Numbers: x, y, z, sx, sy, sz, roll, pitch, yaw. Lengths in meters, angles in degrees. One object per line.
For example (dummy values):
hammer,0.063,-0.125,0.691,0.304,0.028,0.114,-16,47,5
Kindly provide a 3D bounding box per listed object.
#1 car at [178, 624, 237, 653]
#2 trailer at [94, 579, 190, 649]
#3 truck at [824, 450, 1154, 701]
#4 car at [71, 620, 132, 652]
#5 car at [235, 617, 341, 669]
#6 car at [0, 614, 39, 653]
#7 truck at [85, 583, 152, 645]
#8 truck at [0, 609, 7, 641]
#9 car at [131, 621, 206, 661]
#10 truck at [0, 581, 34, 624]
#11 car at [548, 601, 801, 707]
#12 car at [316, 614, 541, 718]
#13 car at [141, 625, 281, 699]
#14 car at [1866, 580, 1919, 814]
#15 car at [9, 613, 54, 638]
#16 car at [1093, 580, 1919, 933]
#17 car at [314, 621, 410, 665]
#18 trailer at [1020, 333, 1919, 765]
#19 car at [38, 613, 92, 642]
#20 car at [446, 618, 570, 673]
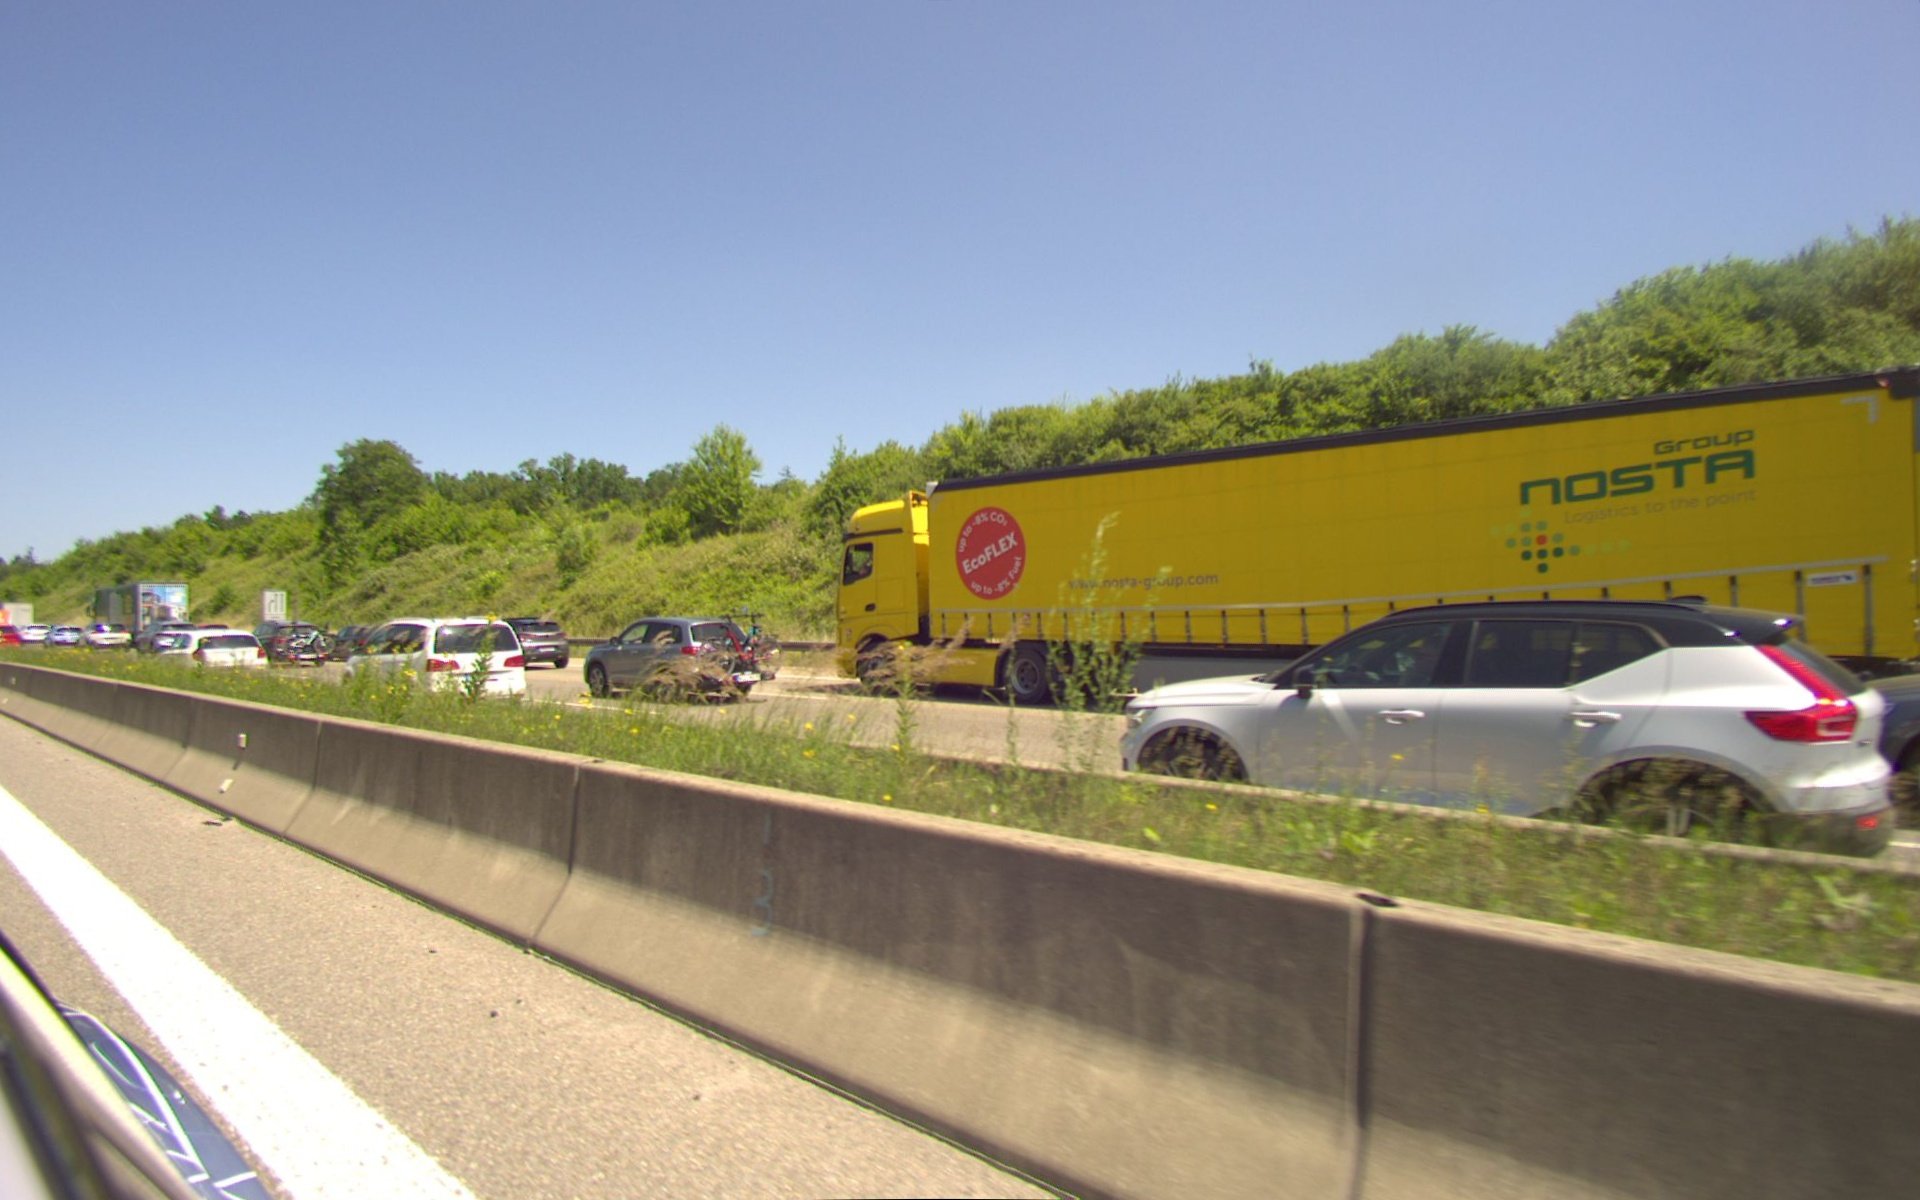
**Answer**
car,-41.862,2.129,56.275,4.121,1.478,1.793,-1,0,41
trailer,-54.343,0.893,67.027,12.780,4.294,2.813,-1,0,41
truck,0.388,-0.392,19.528,6.130,4.095,2.575,-1,0,41
car,-47.130,1.935,55.518,5.217,1.641,1.793,-1,0,42
car,-23.663,1.447,35.537,5.379,1.641,1.793,-1,0,42
car,-46.641,1.610,49.376,4.986,1.778,1.809,-1,0,40
truck,-59.811,0.961,71.878,5.626,4.235,2.790,-1,0,41
truck,-88.237,2.274,91.222,6.746,2.866,2.543,-1,0,39
car,-35.964,1.803,45.941,4.906,1.641,1.793,-1,0,42
truck,-105.180,0.297,111.778,13.920,4.577,2.963,-1,0,42
car,-5.710,0.940,19.698,5.899,1.765,1.843,-1,0,42
car,-9.308,1.022,17.506,5.028,1.524,1.793,-1,0,42
car,-18.315,1.428,24.659,4.816,1.524,1.793,-1,0,42
car,8.746,0.648,6.315,4.556,1.625,1.757,-1,0,42
car,-68.552,1.844,74.689,4.986,1.778,1.809,-1,0,40
car,3.421,0.683,6.212,5.028,1.524,1.793,-1,0,42
car,-23.065,1.613,38.983,4.796,1.524,1.793,-1,0,42
trailer,6.299,-0.462,14.220,11.853,4.175,2.622,-1,0,42
car,-56.716,1.714,64.126,4.986,1.778,1.809,-1,0,40
car,-14.190,1.365,31.653,4.598,1.524,1.793,-1,0,42
